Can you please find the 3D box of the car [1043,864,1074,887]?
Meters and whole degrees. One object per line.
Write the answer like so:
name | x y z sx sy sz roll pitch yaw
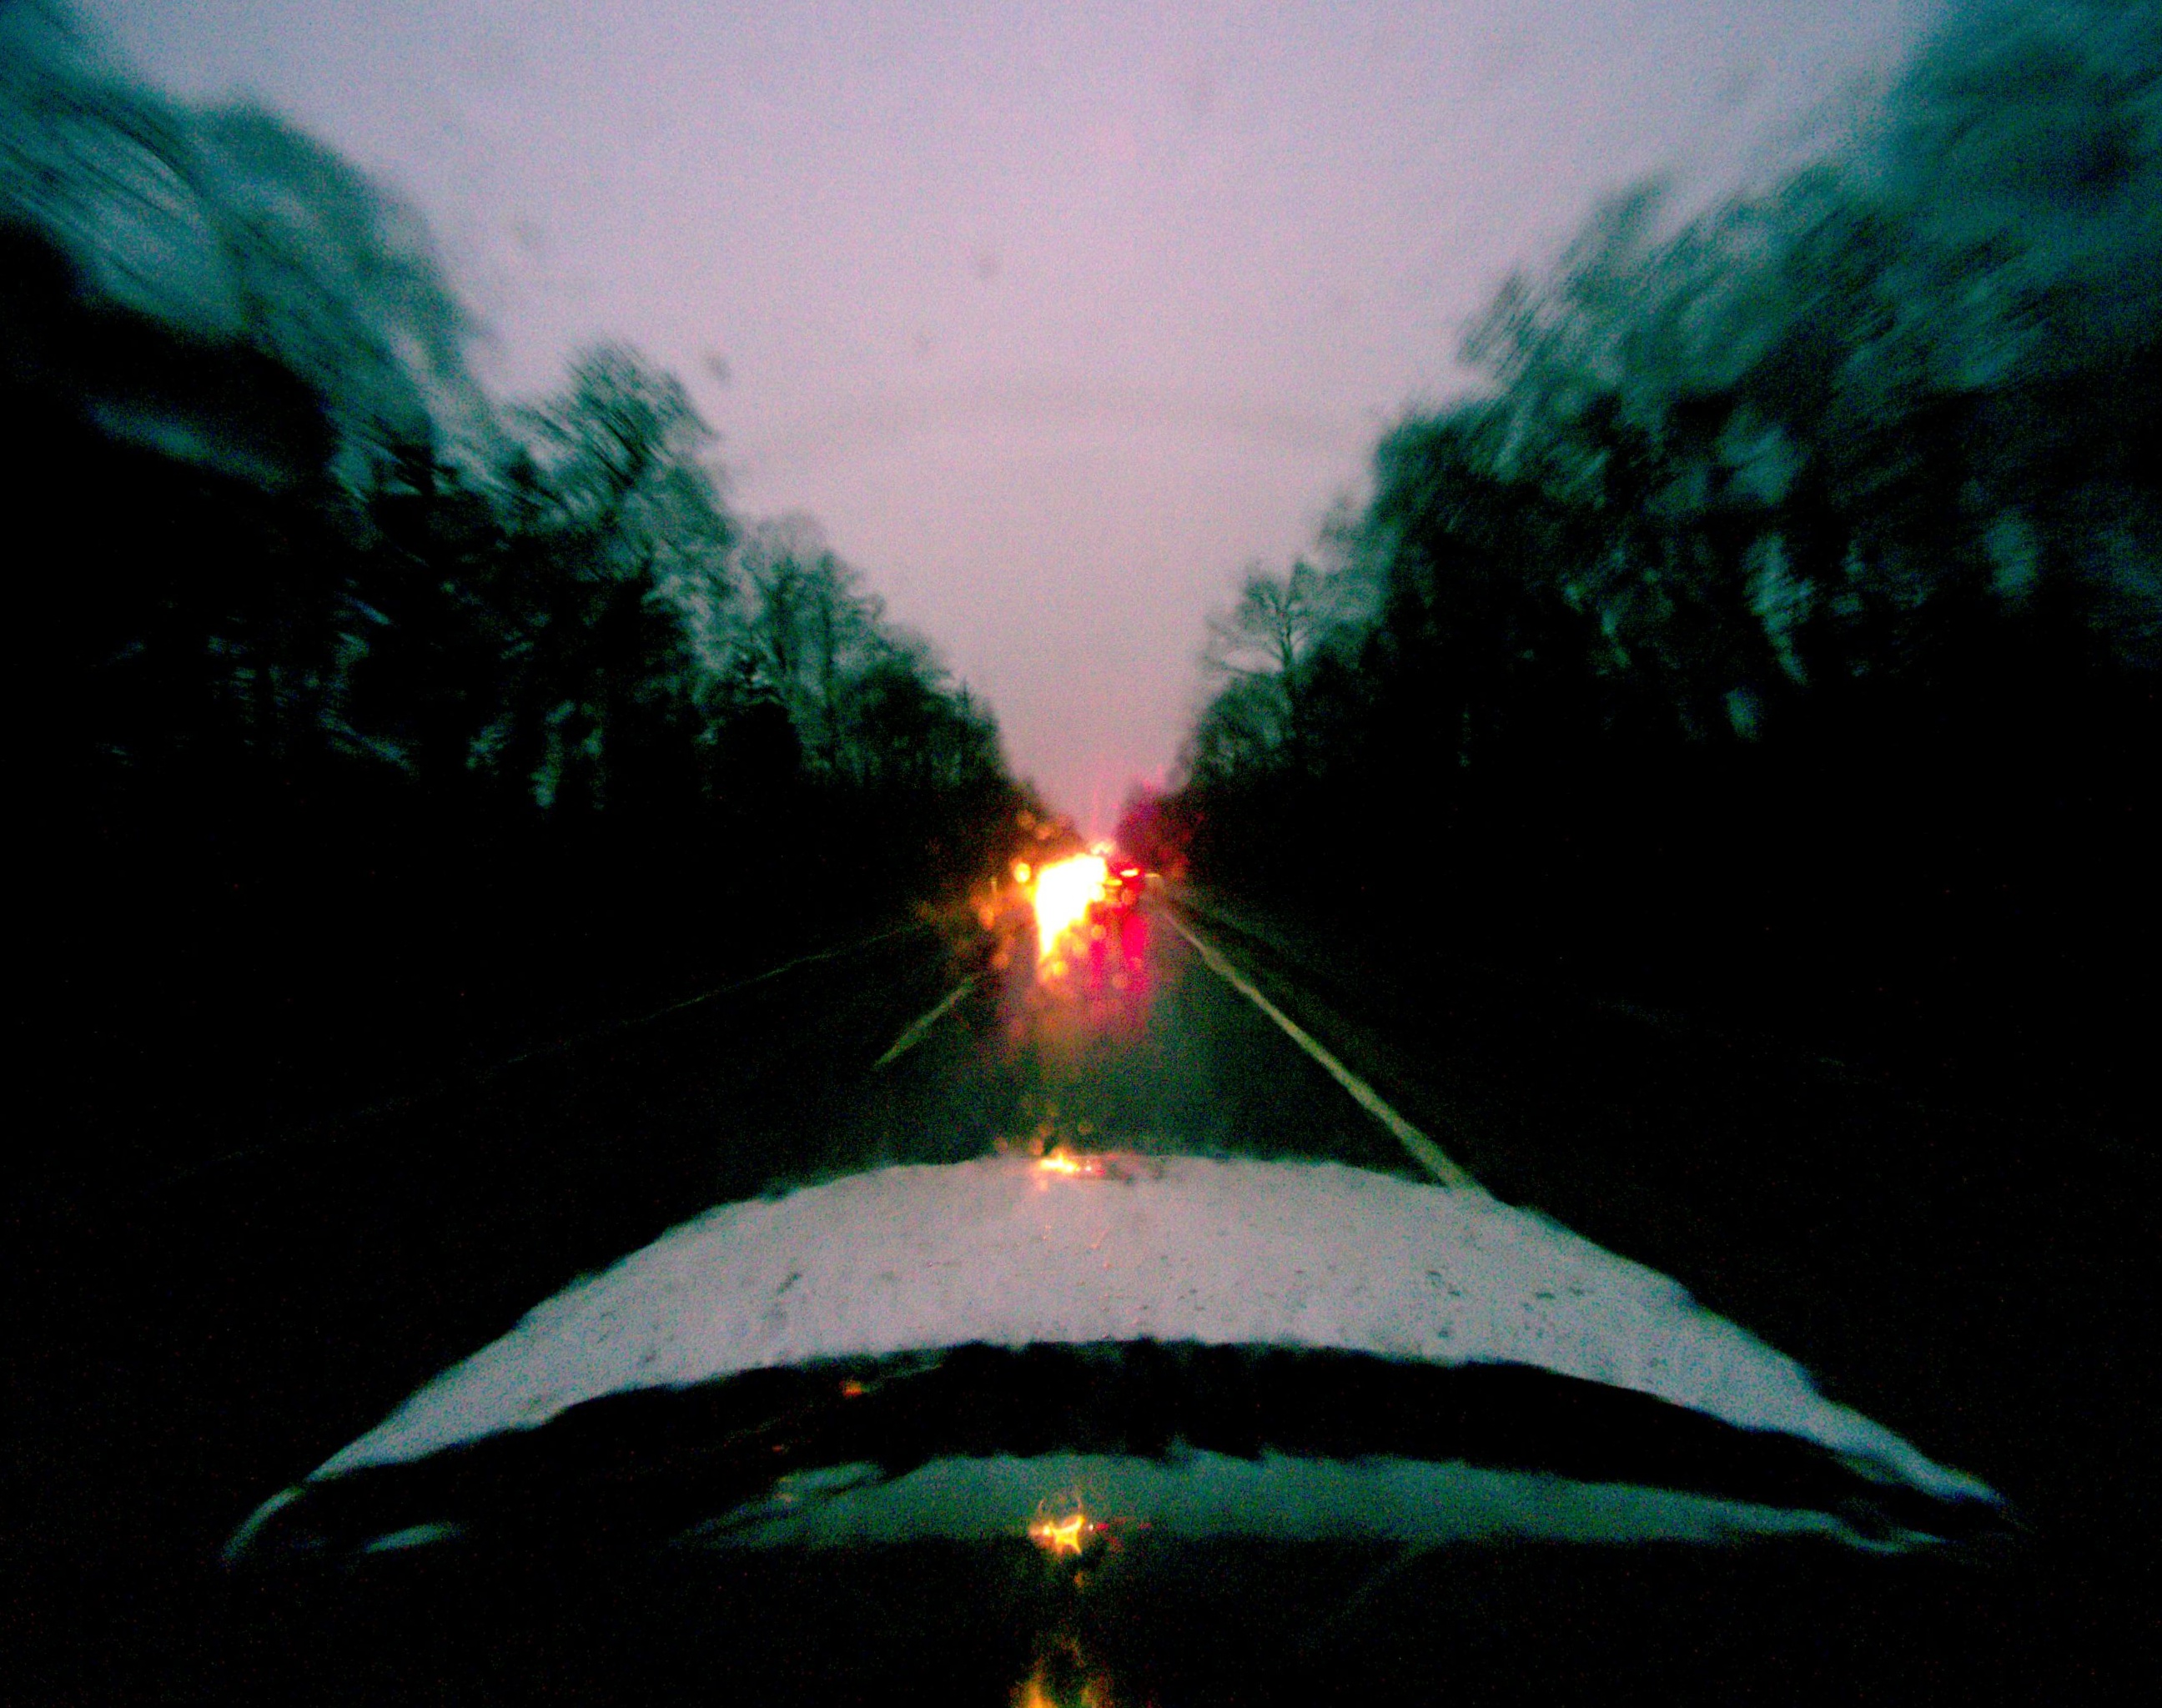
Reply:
car | -1.549 1.481 56.450 1.792 1.461 4.178 -3 -1 2
